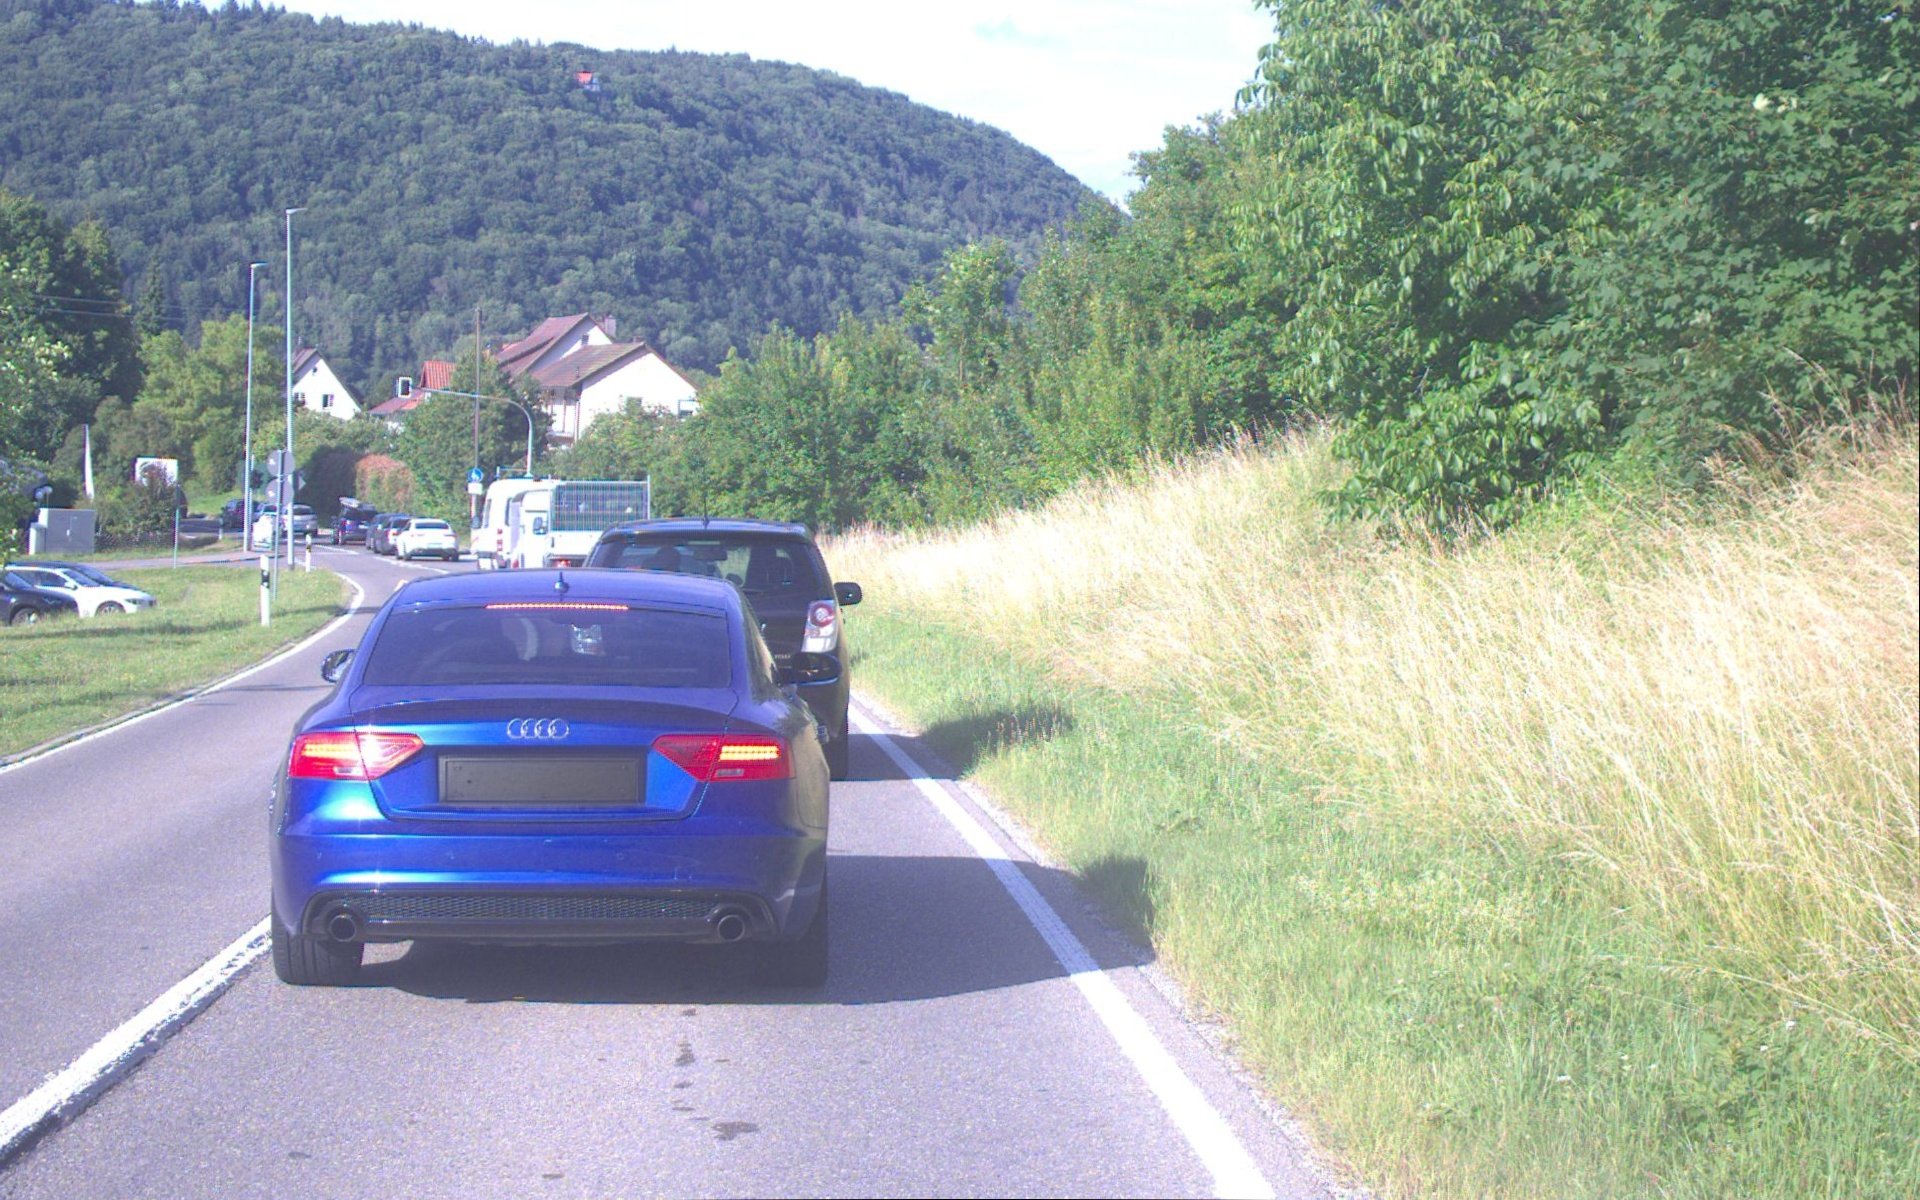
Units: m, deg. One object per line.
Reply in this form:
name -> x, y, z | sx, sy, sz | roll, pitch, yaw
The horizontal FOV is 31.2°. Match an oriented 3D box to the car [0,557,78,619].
car -> -22.705, -0.287, 80.390 | 3.713, 1.434, 1.509 | 0, 1, 6

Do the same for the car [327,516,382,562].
car -> -25.557, -2.573, 145.039 | 1.676, 1.918, 4.001 | -1, 1, -18

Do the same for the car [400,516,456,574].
car -> -18.173, -1.875, 117.289 | 1.659, 1.918, 4.001 | -1, 1, -12

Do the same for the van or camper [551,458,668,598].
van or camper -> -6.614, -1.331, 64.357 | 2.051, 2.497, 5.813 | 0, 1, -7

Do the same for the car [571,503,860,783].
car -> -1.647, 0.223, 22.144 | 1.645, 1.619, 3.518 | 2, 1, -7

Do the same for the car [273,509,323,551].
car -> -30.971, -3.254, 160.772 | 1.676, 1.918, 4.001 | -1, 1, -20

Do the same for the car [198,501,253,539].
car -> -37.838, -4.107, 177.045 | 1.954, 1.918, 4.001 | -1, 1, -24

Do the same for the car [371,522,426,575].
car -> -20.619, -1.893, 126.173 | 1.659, 1.918, 4.001 | -1, 1, -14

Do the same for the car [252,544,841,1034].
car -> -1.370, 0.548, 12.135 | 1.742, 1.445, 3.517 | 1, 1, -4

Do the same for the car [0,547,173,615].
car -> -21.676, -0.484, 84.877 | 4.036, 1.655, 1.655 | 0, 1, 6

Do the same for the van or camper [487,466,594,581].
van or camper -> -10.329, -1.852, 84.290 | 2.280, 2.704, 5.769 | -1, 1, -10

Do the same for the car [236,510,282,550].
car -> -34.489, -3.437, 169.126 | 1.676, 1.918, 4.001 | -1, 1, -19
